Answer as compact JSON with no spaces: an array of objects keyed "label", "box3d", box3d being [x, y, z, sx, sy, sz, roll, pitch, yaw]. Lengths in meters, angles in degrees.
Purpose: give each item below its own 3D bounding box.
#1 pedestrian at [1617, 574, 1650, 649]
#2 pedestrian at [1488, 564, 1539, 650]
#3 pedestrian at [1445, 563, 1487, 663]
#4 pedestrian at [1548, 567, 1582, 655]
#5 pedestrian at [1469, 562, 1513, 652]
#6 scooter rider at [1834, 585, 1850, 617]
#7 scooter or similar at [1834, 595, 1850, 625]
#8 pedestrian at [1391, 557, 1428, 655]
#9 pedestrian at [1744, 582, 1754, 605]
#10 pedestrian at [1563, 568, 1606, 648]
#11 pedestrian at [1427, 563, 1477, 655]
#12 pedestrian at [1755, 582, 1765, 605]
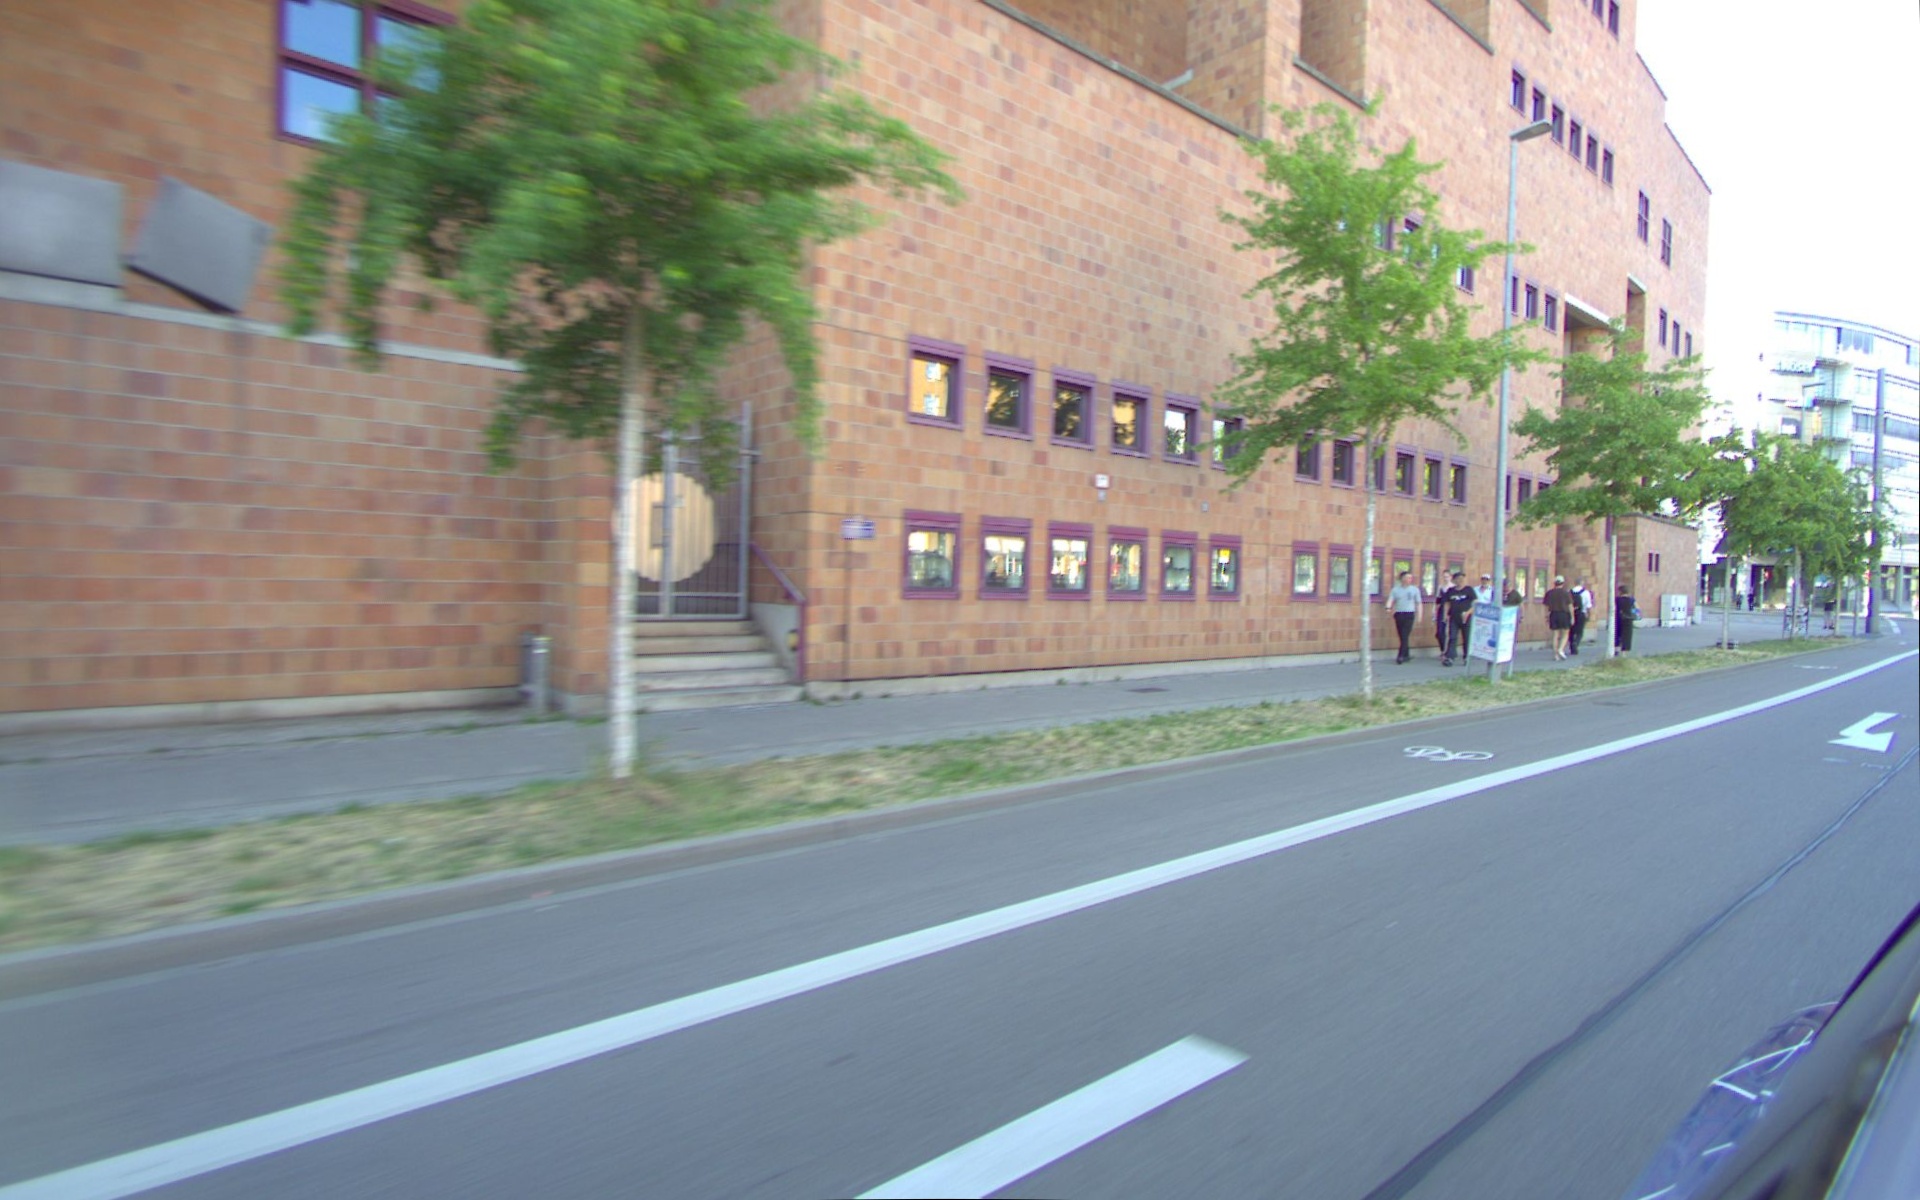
[{"label":"pedestrian","box3d":[14.916,0.246,22.427,0.513,1.625,0.697,2,2,29]},{"label":"pedestrian","box3d":[11.688,0.133,21.381,0.684,1.778,0.733,0,2,-45]},{"label":"pedestrian","box3d":[9.203,0.223,18.424,0.530,1.778,0.463,2,1,14]},{"label":"pedestrian","box3d":[12.421,0.214,20.783,0.534,1.778,0.417,2,2,33]},{"label":"pedestrian","box3d":[10.712,0.134,20.425,0.684,1.778,0.537,0,2,-43]},{"label":"scooter rider","box3d":[41.327,0.032,47.412,0.506,1.479,0.711,3,2,42]},{"label":"scooter or similar","box3d":[41.289,0.459,47.393,0.527,1.334,1.116,3,2,41]},{"label":"pedestrian","box3d":[8.290,0.100,18.679,0.531,1.778,0.419,2,1,20]},{"label":"pedestrian","box3d":[64.717,-0.543,83.000,0.586,1.846,0.537,2,2,36]},{"label":"pedestrian","box3d":[13.935,0.167,22.603,0.564,1.734,0.639,2,1,11]},{"label":"pedestrian","box3d":[9.680,0.171,19.915,0.681,1.778,0.539,1,2,-30]},{"label":"pedestrian","box3d":[65.228,-0.511,82.539,0.543,1.846,0.369,2,2,37]}]
